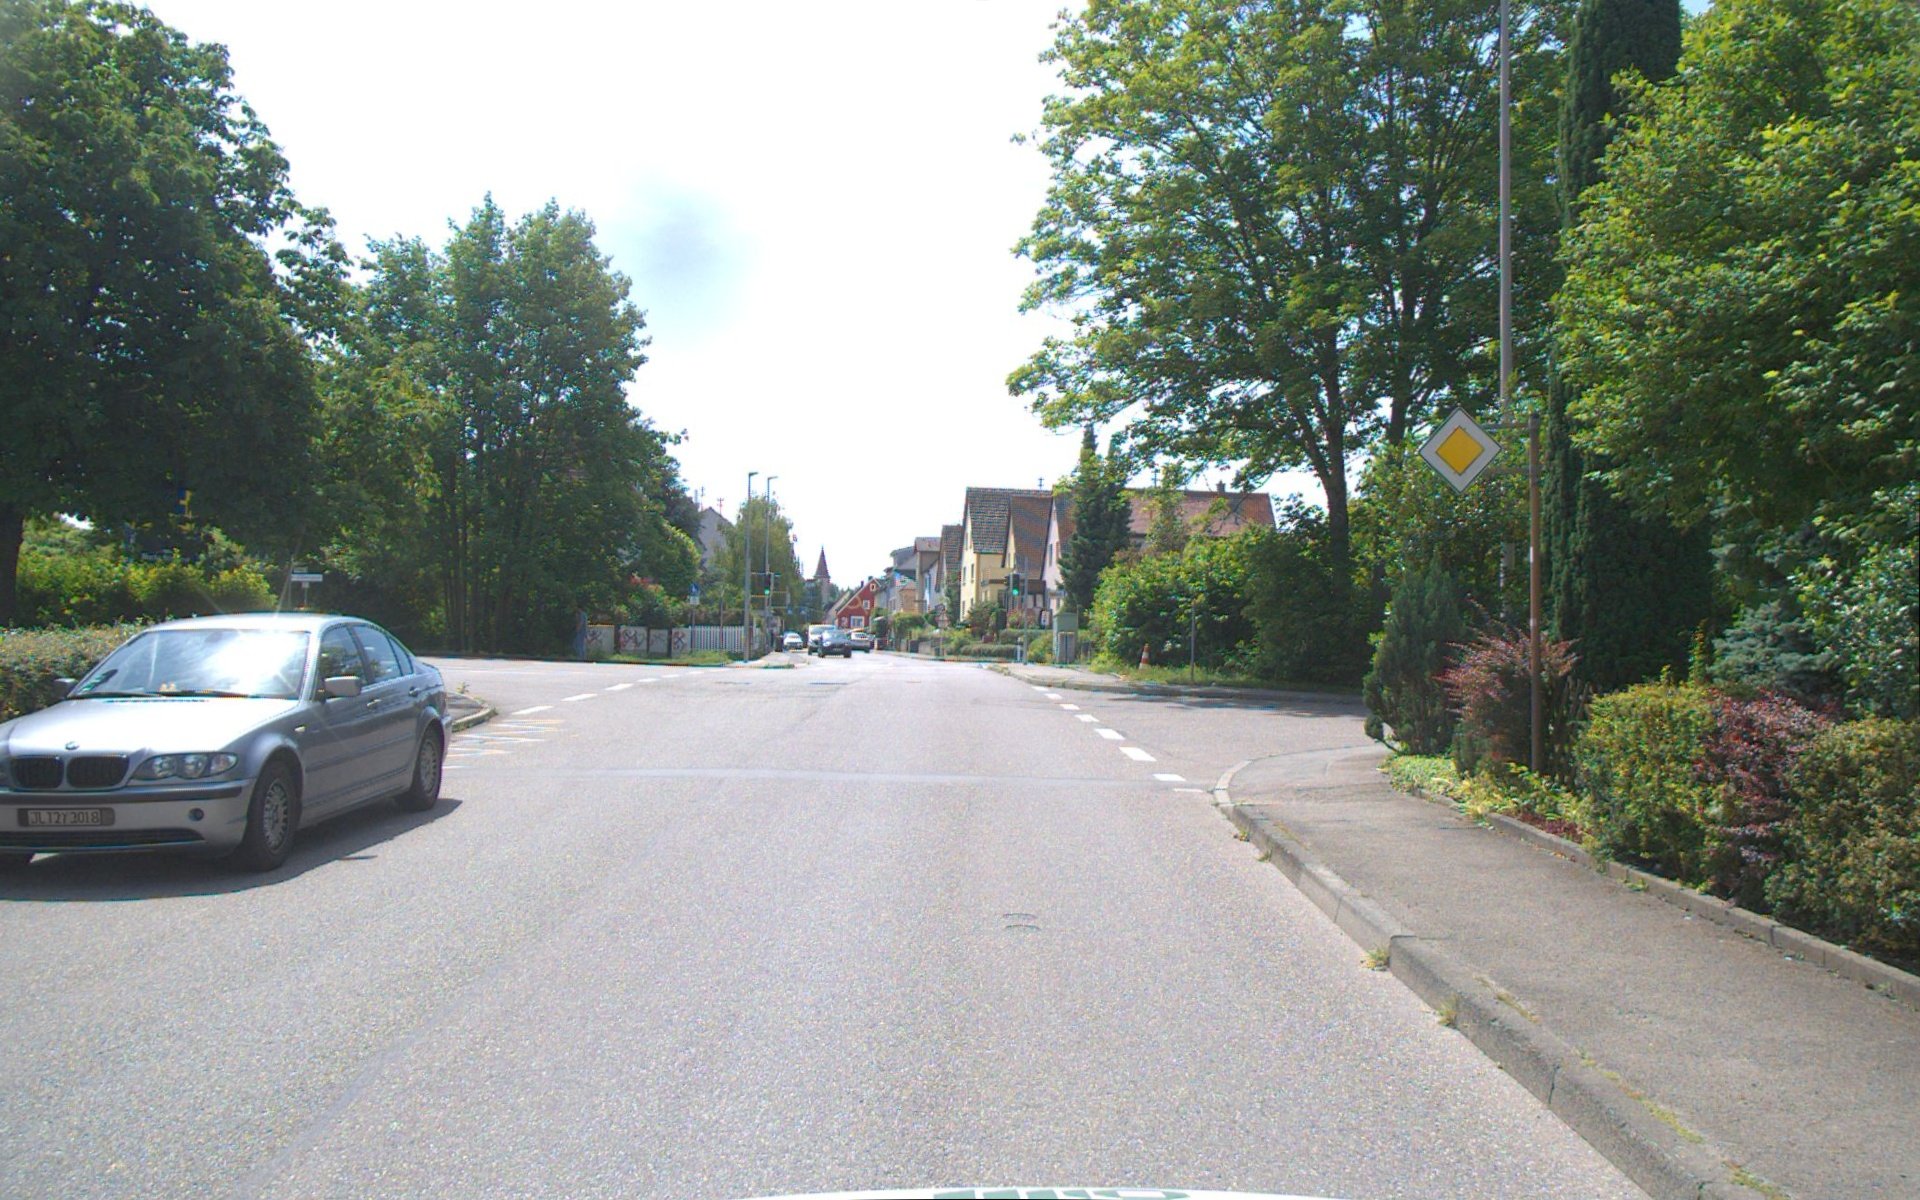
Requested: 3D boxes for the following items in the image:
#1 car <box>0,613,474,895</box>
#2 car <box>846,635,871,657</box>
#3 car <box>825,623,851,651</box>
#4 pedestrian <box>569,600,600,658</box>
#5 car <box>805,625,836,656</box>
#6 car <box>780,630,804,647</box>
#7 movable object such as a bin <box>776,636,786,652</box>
[{"bbox_3d":[-4.616,0.800,10.566,1.744,1.419,4.408,0,-1,0],"label":"car"},{"bbox_3d":[-8.291,3.763,135.607,1.953,1.631,3.999,1,0,-2],"label":"car"},{"bbox_3d":[-7.205,2.153,97.390,1.504,1.568,4.300,1,-1,-5],"label":"car"},{"bbox_3d":[-11.913,0.922,52.516,0.720,1.809,0.690,-2,-3,17],"label":"pedestrian"},{"bbox_3d":[-9.347,2.718,110.345,1.844,1.999,4.894,-1,-2,-7],"label":"car"},{"bbox_3d":[-16.102,3.711,158.475,2.068,1.588,4.311,1,-1,-3],"label":"car"},{"bbox_3d":[-12.650,3.123,116.885,0.596,1.064,0.724,2,0,-7],"label":"movable object such as a bin"}]
